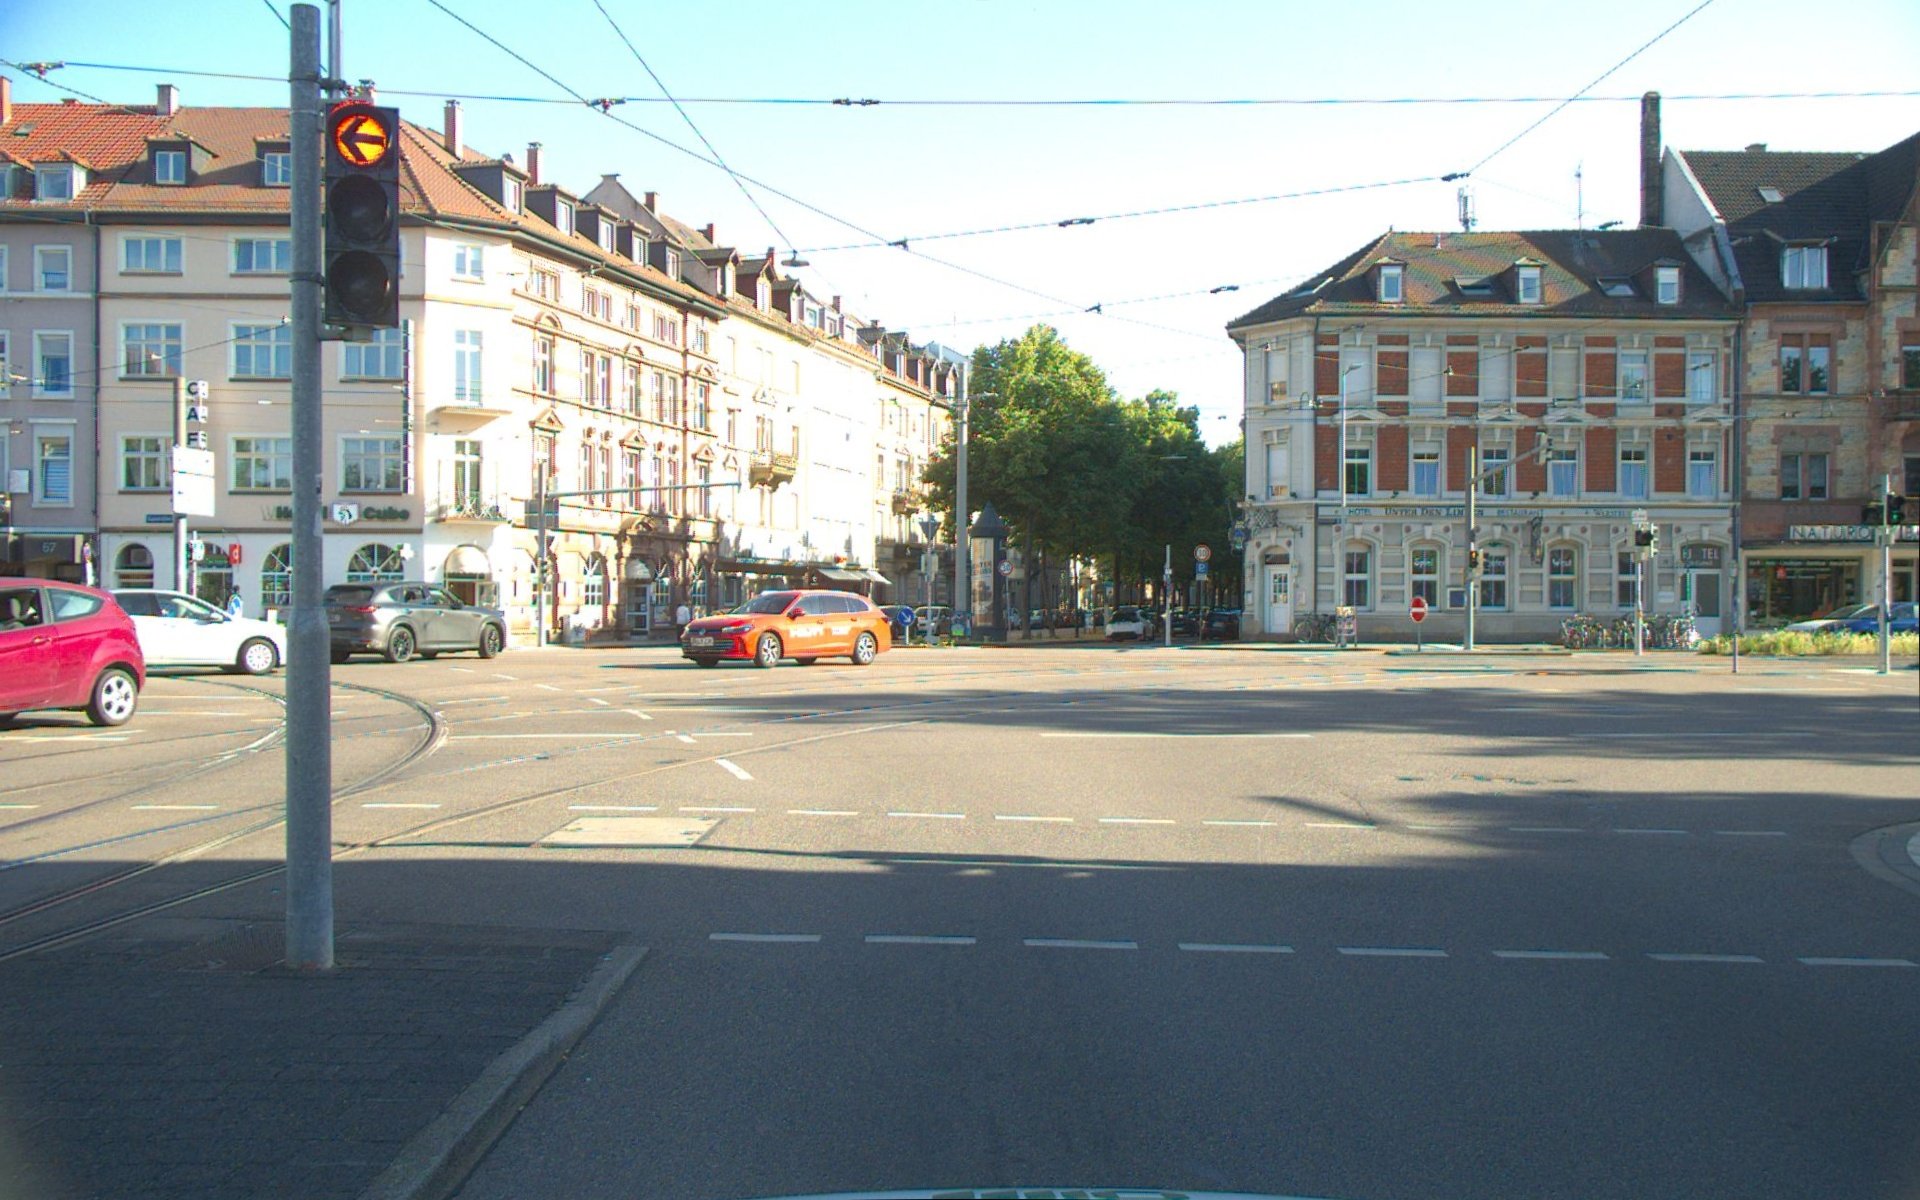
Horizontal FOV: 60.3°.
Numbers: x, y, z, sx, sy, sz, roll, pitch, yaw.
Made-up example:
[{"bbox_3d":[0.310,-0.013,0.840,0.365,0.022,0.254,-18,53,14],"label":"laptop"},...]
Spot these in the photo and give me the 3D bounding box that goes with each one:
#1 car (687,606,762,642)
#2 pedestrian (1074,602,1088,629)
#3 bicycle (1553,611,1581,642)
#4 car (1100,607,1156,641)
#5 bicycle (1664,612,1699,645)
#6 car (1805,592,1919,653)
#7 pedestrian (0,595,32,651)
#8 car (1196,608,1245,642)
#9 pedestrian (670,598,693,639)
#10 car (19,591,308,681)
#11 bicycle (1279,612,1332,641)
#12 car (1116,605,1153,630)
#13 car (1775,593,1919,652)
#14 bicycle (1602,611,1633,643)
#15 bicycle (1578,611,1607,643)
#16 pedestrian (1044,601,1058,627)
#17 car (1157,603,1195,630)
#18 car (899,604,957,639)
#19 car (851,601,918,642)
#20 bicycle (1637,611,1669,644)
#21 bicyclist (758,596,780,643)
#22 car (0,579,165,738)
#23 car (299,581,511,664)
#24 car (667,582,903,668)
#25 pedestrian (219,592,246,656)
[{"bbox_3d":[-9.512,0.955,67.084,1.624,1.398,3.894,1,0,14],"label":"car"},{"bbox_3d":[9.480,1.228,129.811,0.737,2.049,0.998,1,-1,24],"label":"pedestrian"},{"bbox_3d":[19.811,0.857,54.029,0.749,0.979,2.211,1,0,17],"label":"bicycle"},{"bbox_3d":[7.786,1.093,76.441,1.852,1.479,4.011,0,1,16],"label":"car"},{"bbox_3d":[23.332,0.902,53.510,0.775,1.033,2.211,1,0,17],"label":"bicycle"},{"bbox_3d":[25.922,0.633,46.023,3.905,1.650,1.804,1,0,0],"label":"car"},{"bbox_3d":[-28.531,0.679,50.008,0.572,1.677,0.616,1,-1,-1],"label":"pedestrian"},{"bbox_3d":[13.024,1.235,82.592,1.719,1.583,4.001,1,0,20],"label":"car"},{"bbox_3d":[-11.481,0.777,68.211,0.556,1.671,0.792,1,-1,22],"label":"pedestrian"},{"bbox_3d":[-13.444,0.556,28.029,4.184,1.414,1.711,0,0,-38],"label":"car"},{"bbox_3d":[11.982,0.905,57.282,1.764,0.979,0.604,1,0,14],"label":"bicycle"},{"bbox_3d":[12.330,1.231,116.774,1.951,1.713,4.003,1,0,15],"label":"car"},{"bbox_3d":[26.612,0.658,49.147,3.905,1.650,1.804,1,0,0],"label":"car"},{"bbox_3d":[21.343,0.882,53.699,0.749,1.001,2.211,1,0,17],"label":"bicycle"},{"bbox_3d":[20.565,0.869,53.792,0.749,0.985,2.211,1,0,17],"label":"bicycle"},{"bbox_3d":[6.439,1.004,117.493,0.703,1.821,0.688,1,-1,-36],"label":"pedestrian"},{"bbox_3d":[12.065,0.901,92.053,1.786,1.428,4.003,0,0,12],"label":"car"},{"bbox_3d":[-1.494,1.026,79.500,1.764,1.603,3.893,1,0,15],"label":"car"},{"bbox_3d":[-3.306,0.932,73.170,1.786,1.715,3.877,1,0,16],"label":"car"},{"bbox_3d":[22.470,0.889,53.652,0.749,1.025,2.221,1,0,17],"label":"bicycle"},{"bbox_3d":[-7.532,0.781,65.208,0.553,1.835,0.915,1,-1,14],"label":"bicyclist"},{"bbox_3d":[-9.540,0.536,15.534,1.557,1.451,3.885,1,1,16],"label":"car"},{"bbox_3d":[-11.666,0.444,35.094,1.830,1.630,4.454,-1,0,22],"label":"car"},{"bbox_3d":[-3.329,0.428,32.348,1.768,1.495,4.854,1,2,37],"label":"car"},{"bbox_3d":[-21.457,0.704,48.791,0.517,1.854,0.675,1,-1,-8],"label":"pedestrian"}]
